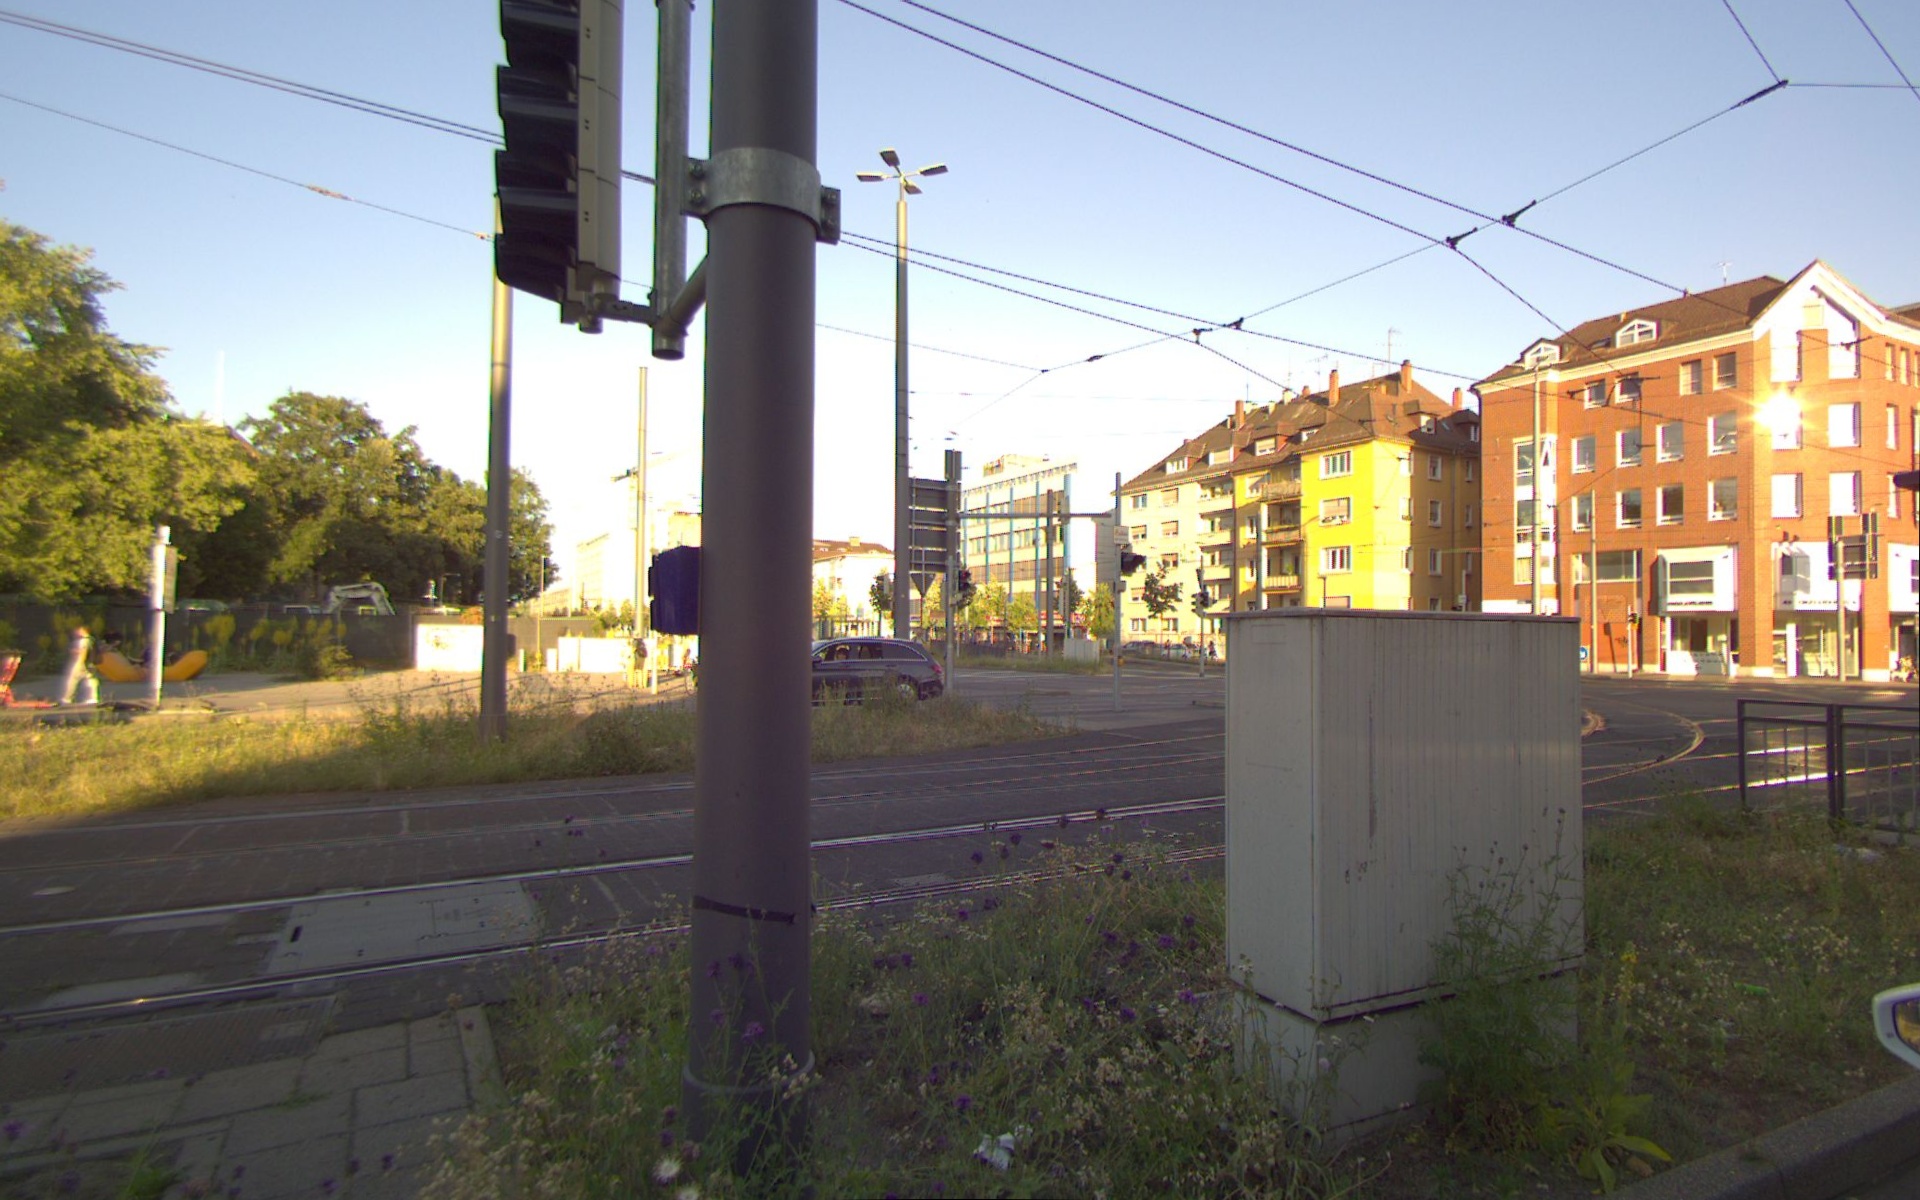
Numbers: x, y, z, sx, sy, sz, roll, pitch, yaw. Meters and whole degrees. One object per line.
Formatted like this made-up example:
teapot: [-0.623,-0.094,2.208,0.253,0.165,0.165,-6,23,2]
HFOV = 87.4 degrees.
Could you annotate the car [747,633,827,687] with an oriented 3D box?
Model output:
car: [-5.814,1.947,33.365,1.919,1.682,4.517,1,-2,-19]

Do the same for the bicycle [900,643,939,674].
bicycle: [-1.403,1.999,34.682,0.589,1.036,1.833,1,-2,-29]

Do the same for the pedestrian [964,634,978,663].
pedestrian: [0.615,2.791,57.892,0.558,1.611,0.686,1,-2,-26]

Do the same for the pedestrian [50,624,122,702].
pedestrian: [-20.130,1.446,23.155,0.812,1.746,0.880,0,-3,13]

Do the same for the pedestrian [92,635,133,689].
pedestrian: [-27.096,1.979,32.117,0.753,1.687,0.818,1,-2,-23]

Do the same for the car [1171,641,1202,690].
car: [17.790,5.142,78.863,1.712,3.616,1.404,1,5,-19]

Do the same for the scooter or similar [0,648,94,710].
scooter or similar: [-18.295,1.565,20.103,0.452,1.181,1.405,0,-2,16]

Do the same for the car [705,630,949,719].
car: [-2.611,1.422,19.786,4.356,1.537,1.987,2,0,-26]

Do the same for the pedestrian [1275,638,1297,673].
pedestrian: [14.363,2.447,44.306,0.695,1.561,0.635,1,-2,-13]

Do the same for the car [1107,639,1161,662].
car: [14.539,4.216,84.039,2.096,1.726,4.313,6,-4,-31]

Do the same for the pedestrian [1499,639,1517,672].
pedestrian: [30.734,3.104,56.360,0.808,1.802,0.632,1,-1,-37]

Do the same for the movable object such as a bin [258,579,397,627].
movable object such as a bin: [-28.310,0.162,45.082,4.924,2.040,2.001,0,-2,1]

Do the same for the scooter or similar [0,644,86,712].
scooter or similar: [-18.745,1.546,20.282,0.452,1.309,1.654,0,-2,16]

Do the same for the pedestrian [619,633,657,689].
pedestrian: [-10.219,1.923,31.904,0.805,1.758,0.944,0,-2,4]

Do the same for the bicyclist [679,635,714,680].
bicyclist: [-7.532,1.632,28.722,0.656,1.274,0.727,-1,-2,32]

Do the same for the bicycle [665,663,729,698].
bicycle: [-7.506,2.283,28.753,0.669,0.904,1.792,-1,-2,33]

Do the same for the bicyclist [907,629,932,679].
bicyclist: [-1.405,1.855,34.685,0.589,1.693,0.742,1,-2,-30]
